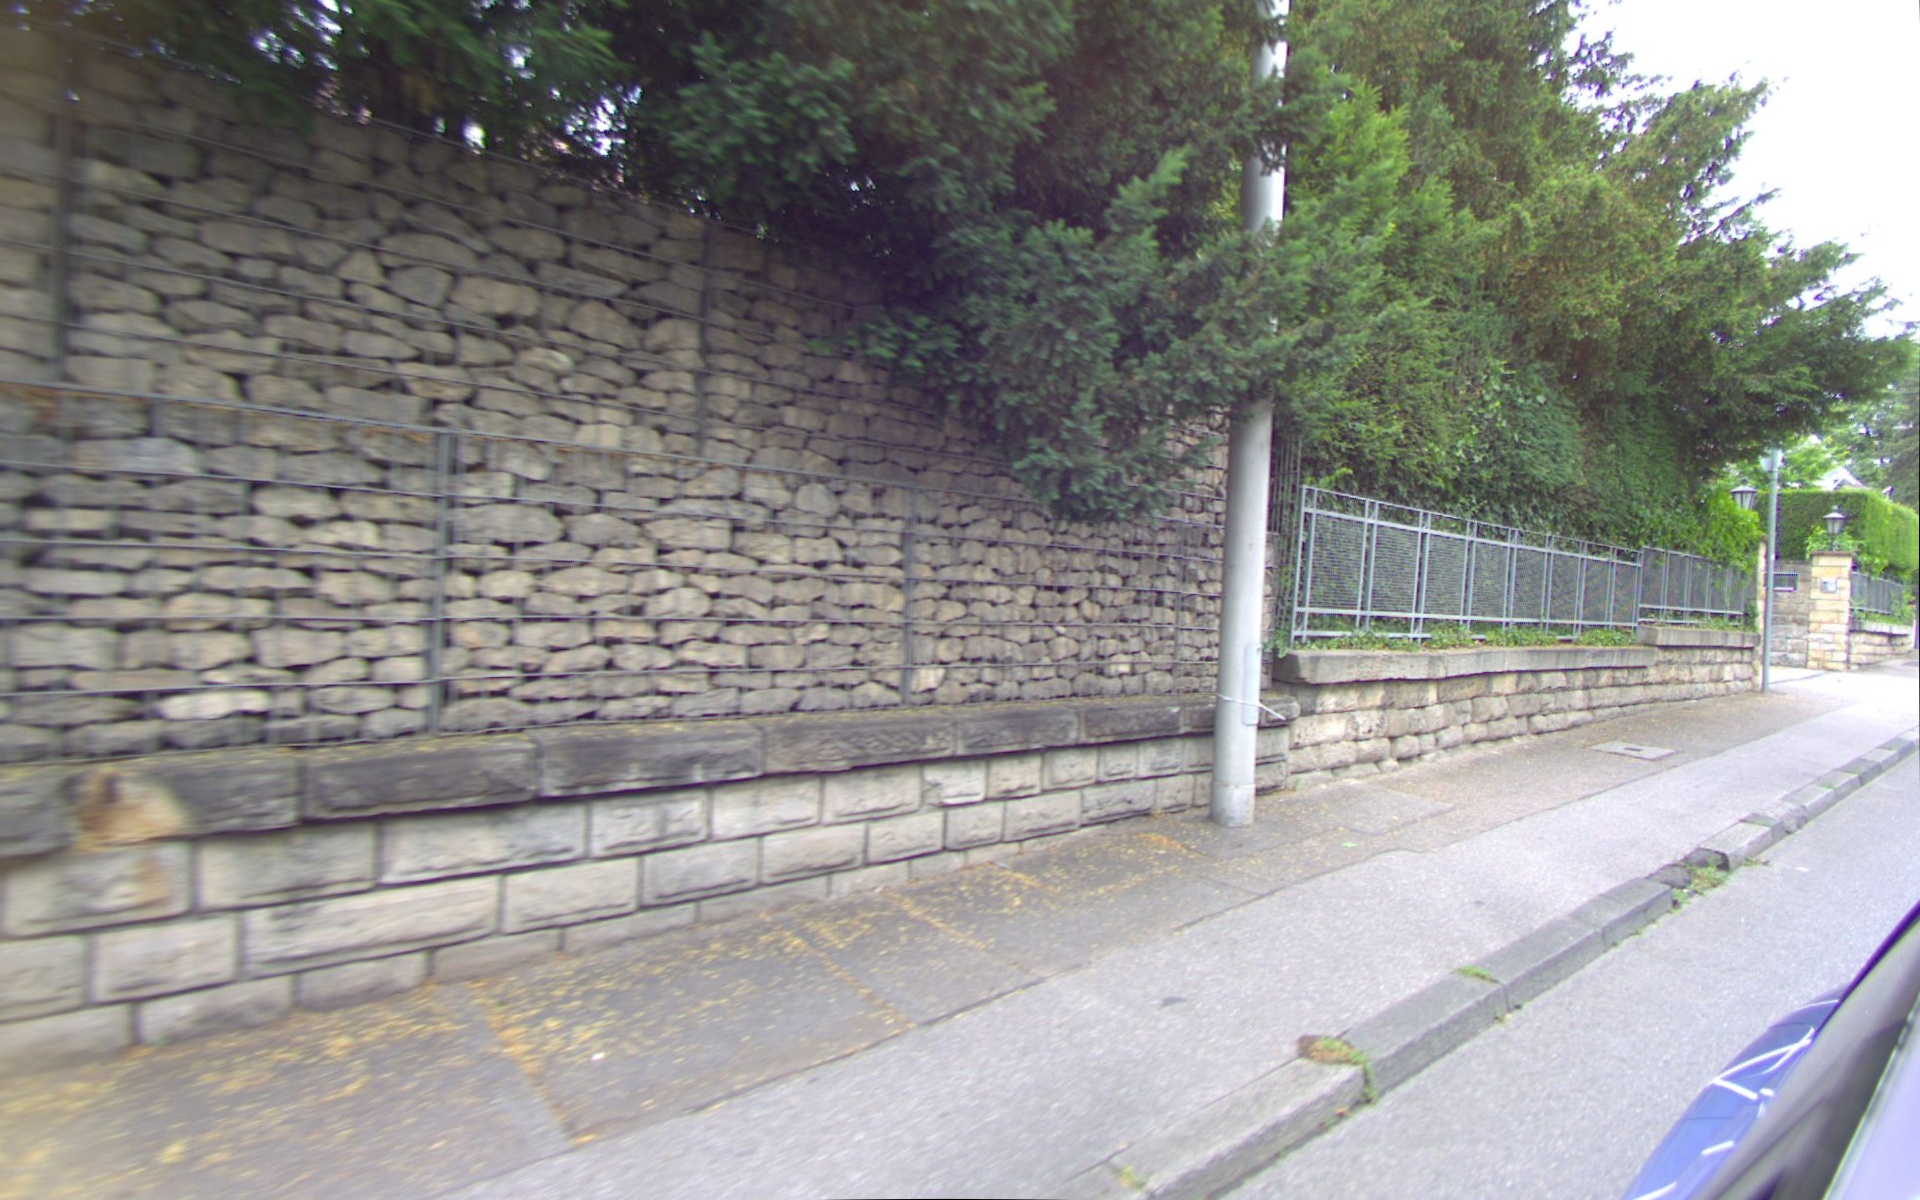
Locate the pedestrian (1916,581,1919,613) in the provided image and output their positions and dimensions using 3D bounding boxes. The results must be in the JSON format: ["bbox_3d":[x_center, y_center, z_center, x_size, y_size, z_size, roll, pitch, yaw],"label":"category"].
[{"bbox_3d":[55.222,-0.144,57.779,0.591,1.857,0.614,2,2,-13],"label":"pedestrian"}]

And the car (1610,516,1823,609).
[{"bbox_3d":[18.641,-0.973,25.070,1.782,1.629,3.755,0,11,-40],"label":"car"}]
